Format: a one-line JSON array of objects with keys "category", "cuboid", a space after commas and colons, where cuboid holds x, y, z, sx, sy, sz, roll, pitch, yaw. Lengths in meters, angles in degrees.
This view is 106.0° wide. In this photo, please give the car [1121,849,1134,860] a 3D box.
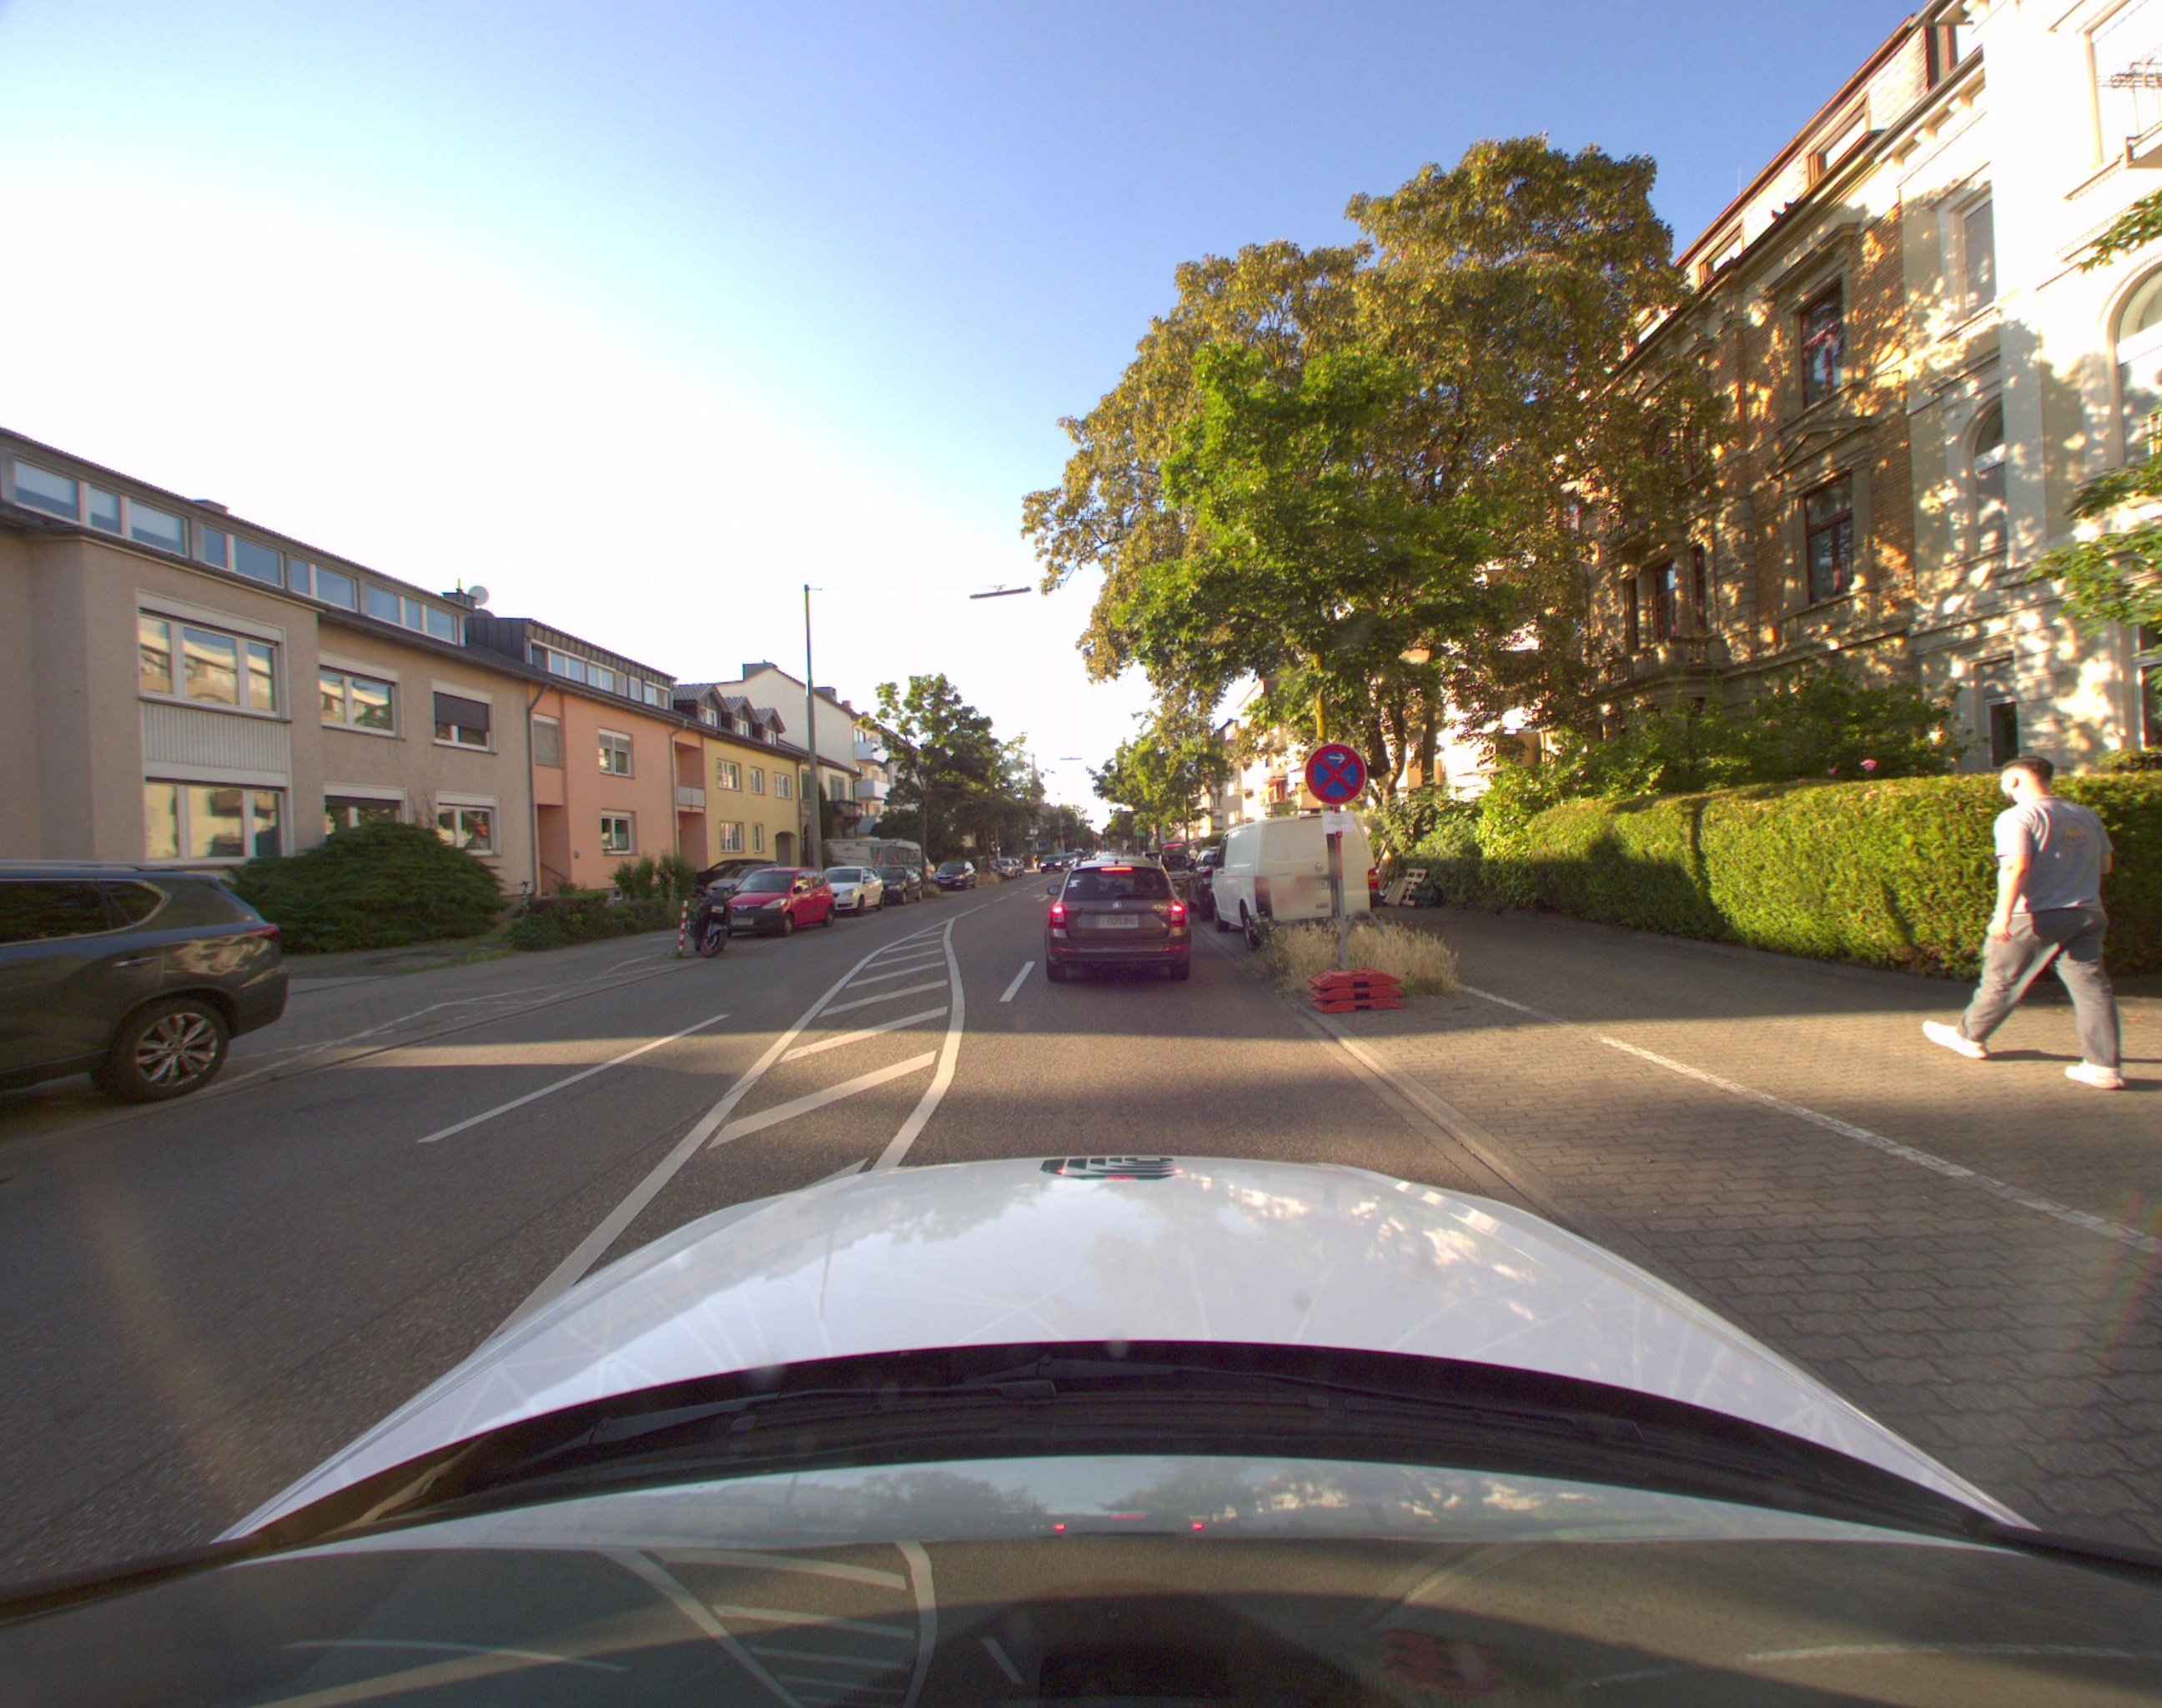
[{"category": "car", "cuboid": [7.167, 0.068, 125.076, 1.984, 1.772, 4.005, 0, 0, 5]}]

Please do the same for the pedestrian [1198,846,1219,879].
[{"category": "pedestrian", "cuboid": [6.582, 0.435, 42.116, 0.748, 1.640, 0.700, -3, 0, 38]}]

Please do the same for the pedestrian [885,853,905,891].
[{"category": "pedestrian", "cuboid": [-9.000, 0.846, 39.447, 0.710, 1.792, 0.572, -3, 0, 4]}]

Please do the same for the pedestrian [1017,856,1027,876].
[{"category": "pedestrian", "cuboid": [-6.110, 1.227, 84.310, 0.777, 1.987, 0.821, -3, 0, 2]}]

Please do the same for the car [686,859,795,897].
[{"category": "car", "cuboid": [-15.027, 1.049, 36.063, 3.971, 1.636, 1.867, 0, 0, 2]}]

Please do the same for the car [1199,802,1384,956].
[{"category": "car", "cuboid": [3.326, 0.351, 13.874, 1.897, 2.103, 4.640, -2, 0, 0]}]

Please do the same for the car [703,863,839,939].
[{"category": "car", "cuboid": [-7.118, 1.022, 19.043, 1.585, 1.523, 3.440, -2, 0, 5]}]

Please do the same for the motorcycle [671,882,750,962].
[{"category": "motorcycle", "cuboid": [-6.861, 1.204, 15.222, 1.184, 1.266, 2.352, -3, 0, -22]}]

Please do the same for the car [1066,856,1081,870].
[{"category": "car", "cuboid": [-1.019, 1.195, 111.995, 1.799, 1.804, 4.747, -4, 0, 2]}]

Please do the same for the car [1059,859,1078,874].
[{"category": "car", "cuboid": [-1.375, 1.366, 92.227, 1.754, 1.452, 4.536, -5, 0, 2]}]

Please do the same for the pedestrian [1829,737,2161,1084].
[{"category": "pedestrian", "cuboid": [5.344, 0.290, 4.787, 0.818, 1.774, 1.088, -2, 0, -2]}]

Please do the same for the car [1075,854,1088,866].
[{"category": "car", "cuboid": [0.165, 1.062, 143.212, 1.986, 1.908, 4.965, -4, 0, 2]}]

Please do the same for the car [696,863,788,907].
[{"category": "car", "cuboid": [-12.732, 1.134, 30.832, 1.658, 1.409, 3.756, -3, 0, 3]}]

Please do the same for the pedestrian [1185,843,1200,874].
[{"category": "pedestrian", "cuboid": [6.550, 0.266, 47.785, 0.660, 1.749, 0.772, -4, 0, 2]}]

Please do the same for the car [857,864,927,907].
[{"category": "car", "cuboid": [-6.878, 1.110, 29.977, 1.537, 1.396, 3.667, -2, 0, 2]}]

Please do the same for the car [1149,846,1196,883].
[{"category": "car", "cuboid": [4.185, 0.458, 37.682, 1.702, 1.480, 4.270, -4, 0, 2]}]

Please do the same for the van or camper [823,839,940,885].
[{"category": "van or camper", "cuboid": [-12.467, 0.489, 51.236, 6.774, 2.773, 2.352, 0, 0, 0]}]

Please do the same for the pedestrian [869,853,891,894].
[{"category": "pedestrian", "cuboid": [-8.928, 0.864, 36.191, 0.710, 1.792, 0.506, -3, 0, 4]}]

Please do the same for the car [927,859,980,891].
[{"category": "car", "cuboid": [-6.466, 1.045, 41.804, 1.860, 1.494, 4.519, -1, 0, 2]}]

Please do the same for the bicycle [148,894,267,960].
[{"category": "bicycle", "cuboid": [-16.537, 1.359, 15.471, 0.331, 1.086, 1.711, -3, 0, 2]}]

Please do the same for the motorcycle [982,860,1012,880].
[{"category": "motorcycle", "cuboid": [-5.653, 1.078, 54.979, 2.028, 1.265, 0.772, -3, 0, 40]}]

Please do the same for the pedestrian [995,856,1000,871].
[{"category": "pedestrian", "cuboid": [-10.249, 1.149, 100.062, 0.447, 1.797, 0.504, -3, 0, 2]}]

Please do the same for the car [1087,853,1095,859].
[{"category": "car", "cuboid": [2.441, 0.509, 202.513, 1.823, 1.579, 4.002, -3, 0, 2]}]

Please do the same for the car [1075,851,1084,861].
[{"category": "car", "cuboid": [-0.443, 0.466, 197.798, 1.986, 2.478, 4.002, -2, 0, 2]}]

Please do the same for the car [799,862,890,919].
[{"category": "car", "cuboid": [-7.210, 1.064, 25.212, 1.587, 1.523, 3.891, -2, 0, 1]}]

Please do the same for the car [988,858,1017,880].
[{"category": "car", "cuboid": [-5.648, 1.062, 58.690, 1.587, 1.470, 3.805, 0, 0, 2]}]

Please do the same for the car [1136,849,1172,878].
[{"category": "car", "cuboid": [4.457, 0.549, 49.933, 1.849, 1.581, 4.015, -4, 0, 1]}]

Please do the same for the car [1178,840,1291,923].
[{"category": "car", "cuboid": [3.486, 0.578, 19.310, 1.849, 1.603, 4.313, -5, 0, 1]}]

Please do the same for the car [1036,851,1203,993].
[{"category": "car", "cuboid": [0.470, 0.730, 10.907, 1.766, 1.489, 4.312, -1, 0, 1]}]

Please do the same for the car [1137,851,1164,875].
[{"category": "car", "cuboid": [4.729, 0.563, 55.679, 1.696, 1.450, 4.018, -4, 0, 4]}]

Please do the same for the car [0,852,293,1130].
[{"category": "car", "cuboid": [-7.902, 0.916, 4.770, 1.881, 1.779, 4.726, -2, 0, 1]}]

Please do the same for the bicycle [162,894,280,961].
[{"category": "bicycle", "cuboid": [-16.155, 1.354, 15.363, 0.331, 1.086, 1.711, -3, 0, 2]}]

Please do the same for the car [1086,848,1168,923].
[{"category": "car", "cuboid": [1.073, 0.663, 19.233, 1.730, 1.571, 4.003, 0, 0, 3]}]

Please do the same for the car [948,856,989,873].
[{"category": "car", "cuboid": [-13.697, 1.304, 99.257, 4.617, 1.811, 1.862, -2, 0, 1]}]

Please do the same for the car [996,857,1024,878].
[{"category": "car", "cuboid": [-5.480, 1.032, 63.319, 1.642, 1.517, 4.076, -1, 0, 2]}]

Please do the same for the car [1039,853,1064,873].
[{"category": "car", "cuboid": [-2.599, 0.805, 71.902, 1.829, 1.570, 4.001, -4, -1, 1]}]
